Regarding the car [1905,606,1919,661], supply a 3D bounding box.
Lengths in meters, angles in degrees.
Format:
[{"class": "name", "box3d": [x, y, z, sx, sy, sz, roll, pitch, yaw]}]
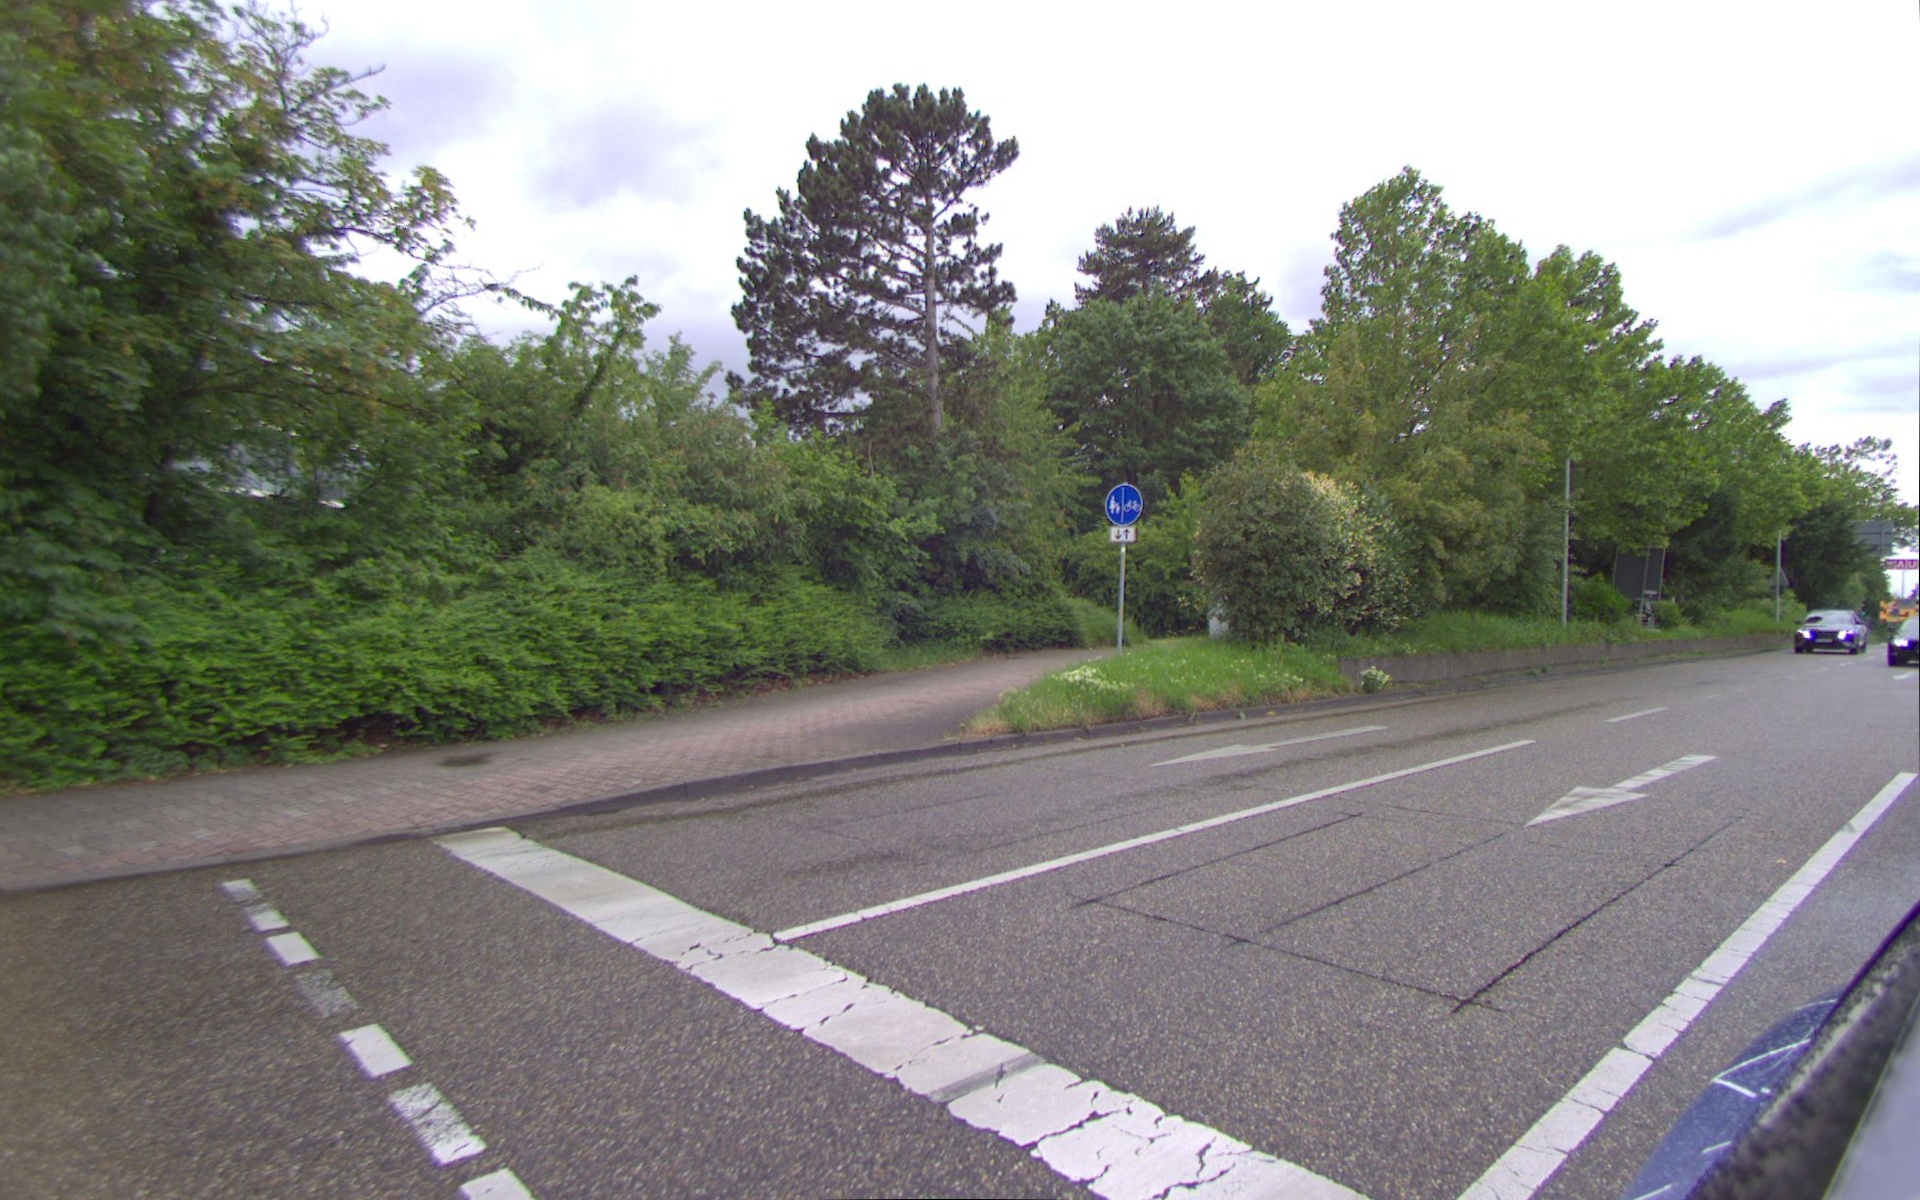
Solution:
[{"class": "car", "box3d": [28.991, 0.970, 29.468, 4.640, 1.477, 1.793, 0, 1, -43]}]

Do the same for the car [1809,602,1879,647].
[{"class": "car", "box3d": [33.826, 0.942, 38.700, 3.778, 1.643, 1.702, 2, -3, -44]}]
